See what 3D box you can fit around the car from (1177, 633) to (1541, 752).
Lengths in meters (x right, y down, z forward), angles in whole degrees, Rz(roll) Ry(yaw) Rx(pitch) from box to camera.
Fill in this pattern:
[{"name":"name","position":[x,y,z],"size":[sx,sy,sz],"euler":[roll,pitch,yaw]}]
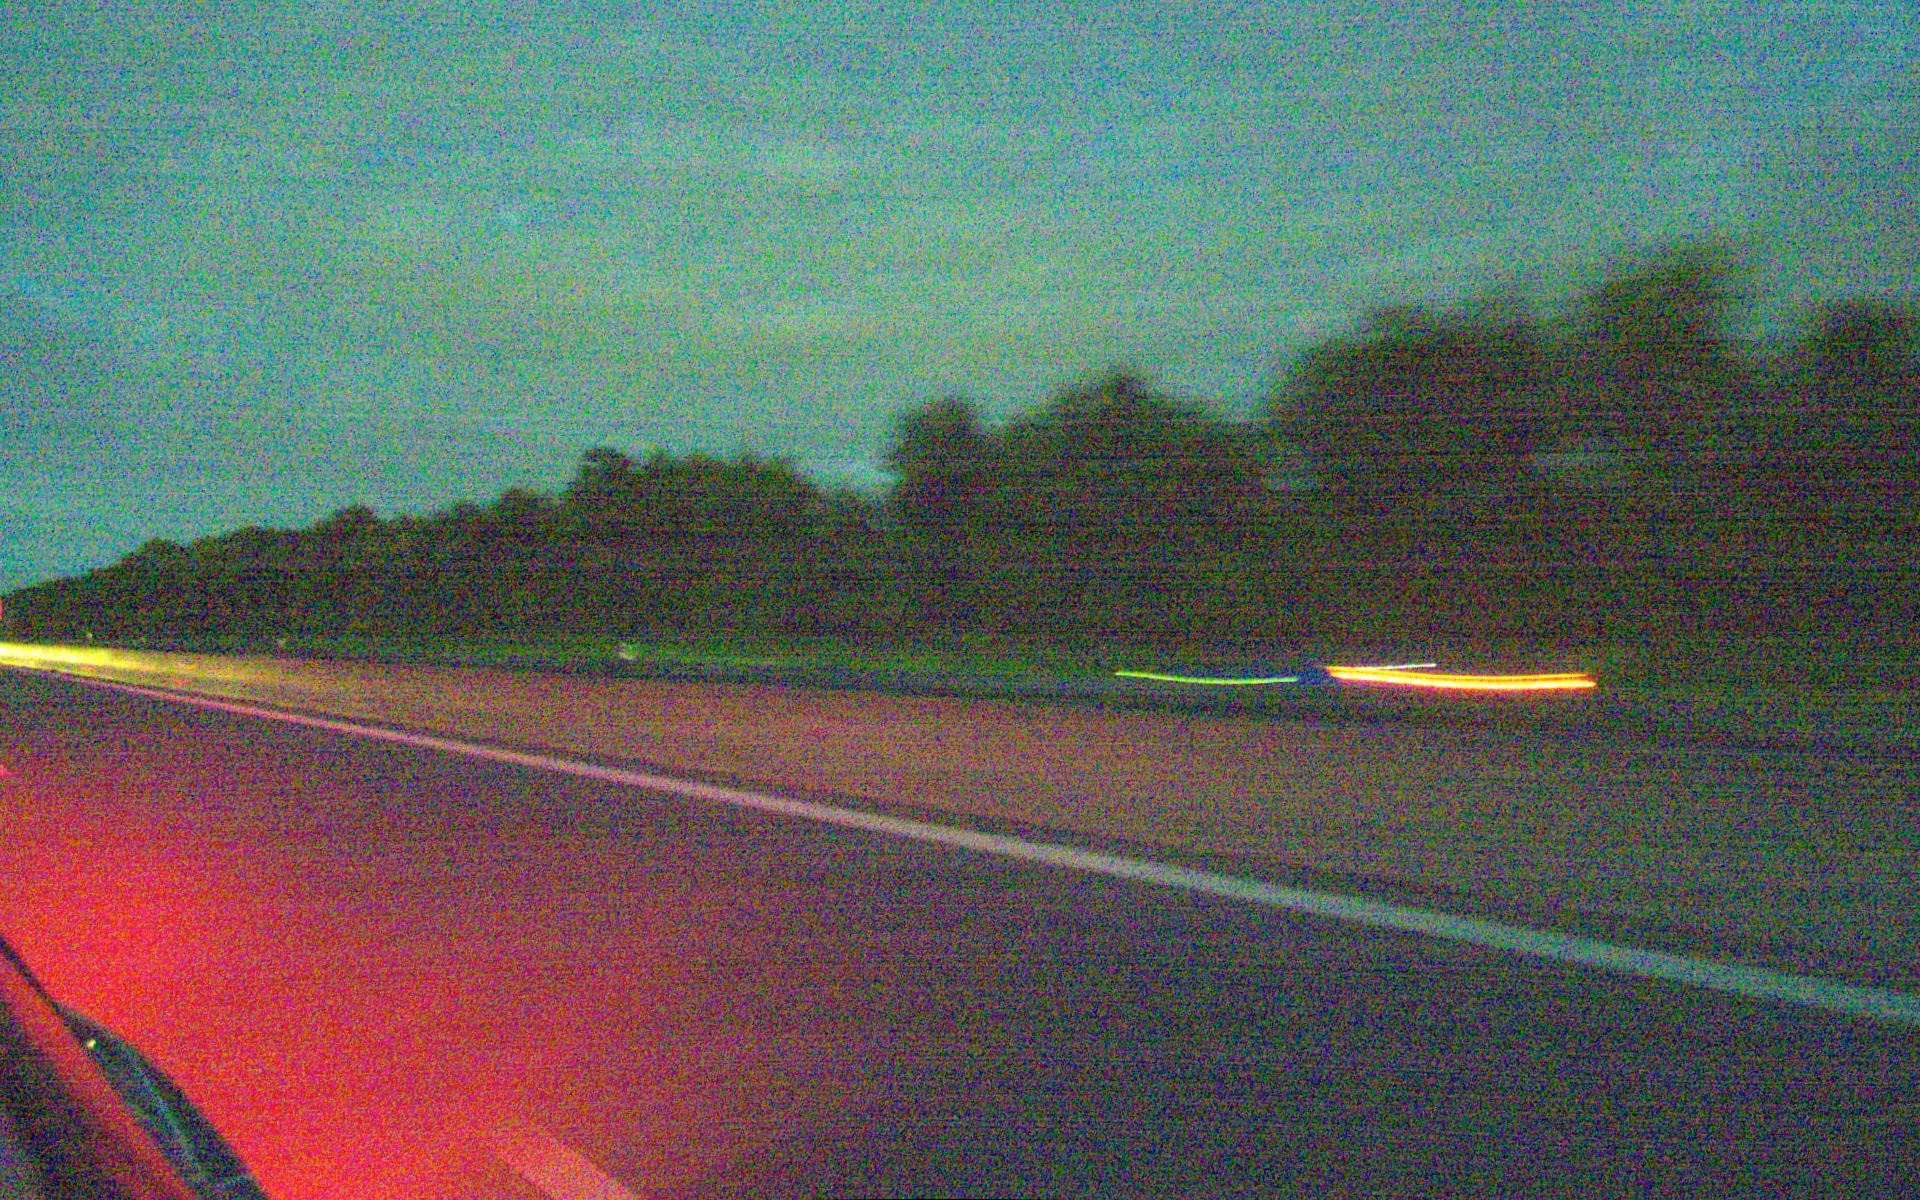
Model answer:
[{"name":"car","position":[5.754,1.233,14.986],"size":[4.653,1.482,1.883],"euler":[-2,-2,41]}]
